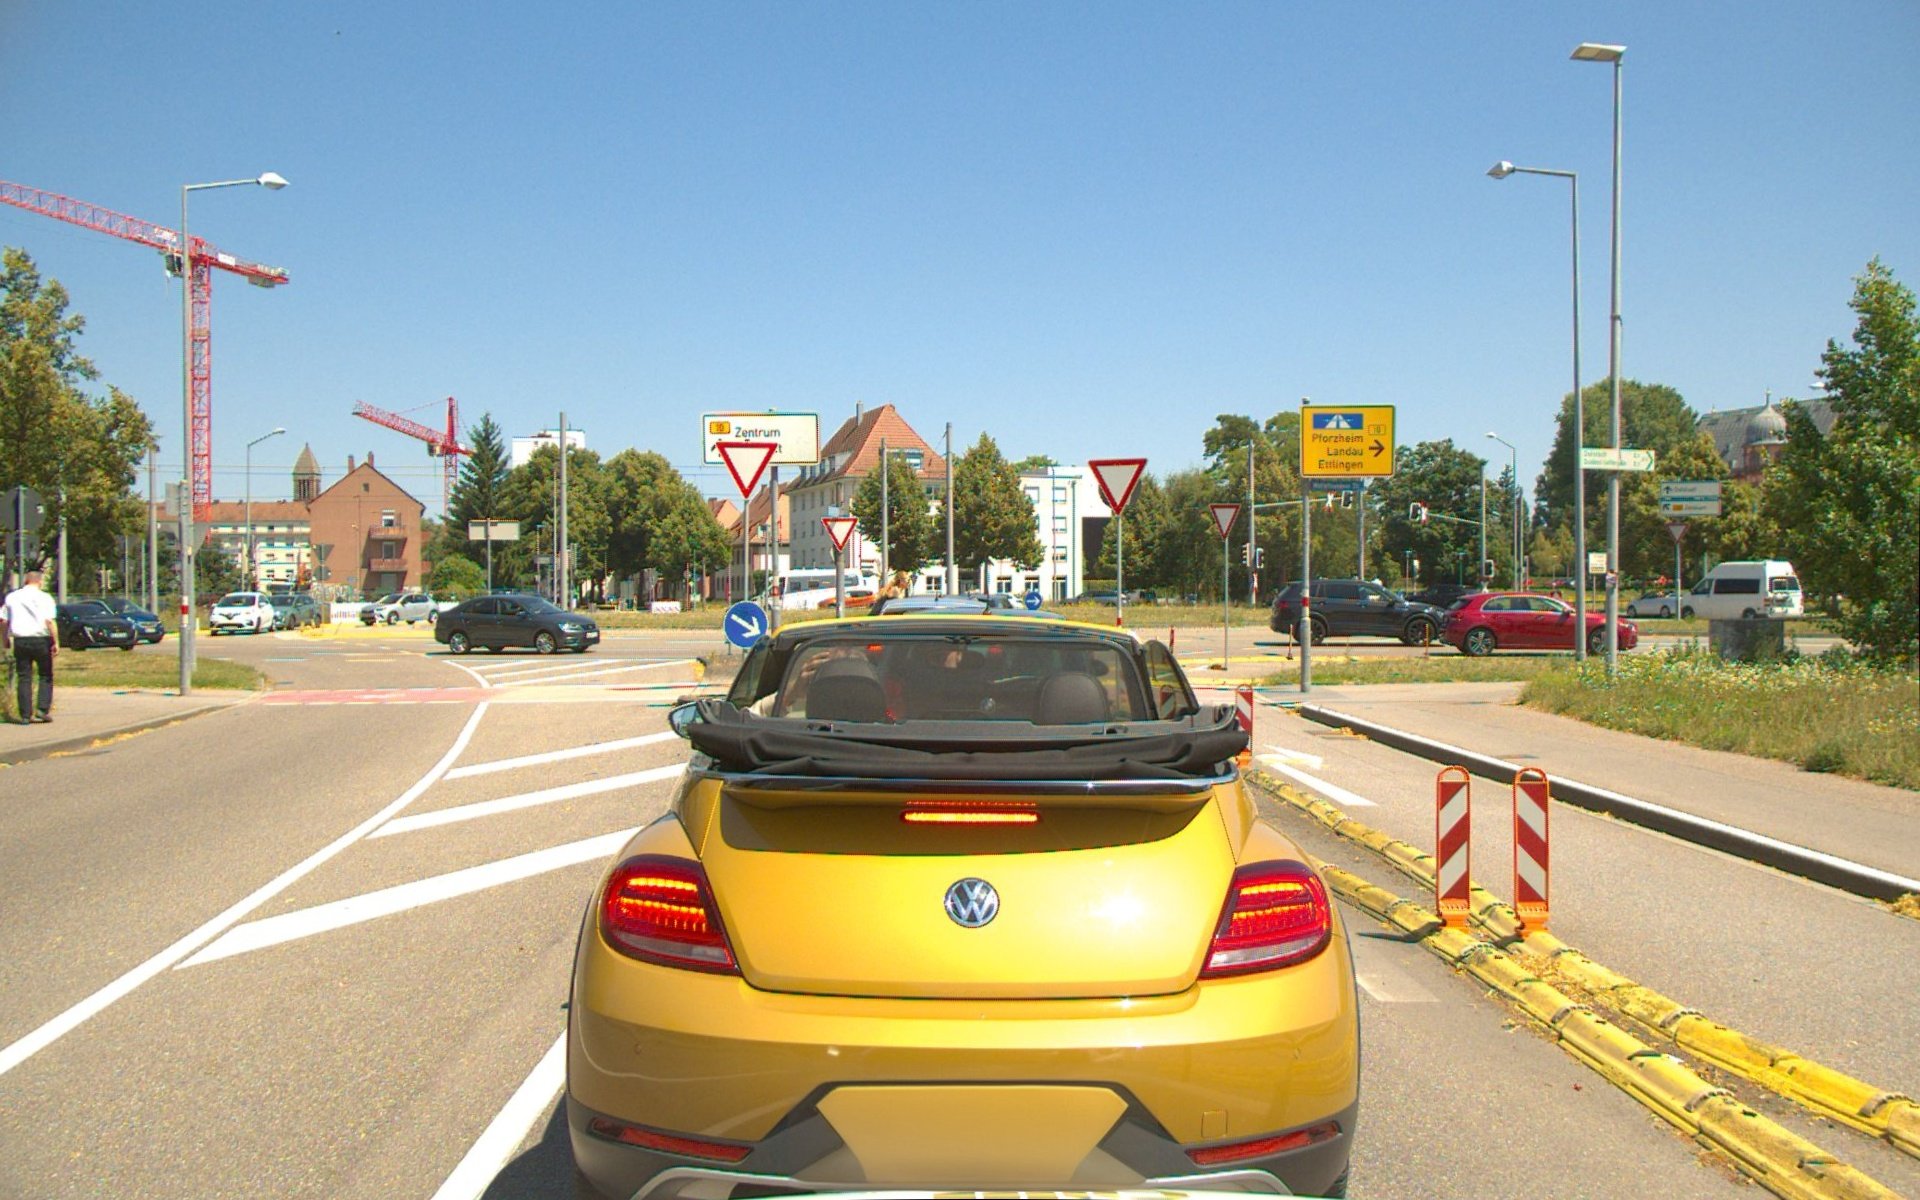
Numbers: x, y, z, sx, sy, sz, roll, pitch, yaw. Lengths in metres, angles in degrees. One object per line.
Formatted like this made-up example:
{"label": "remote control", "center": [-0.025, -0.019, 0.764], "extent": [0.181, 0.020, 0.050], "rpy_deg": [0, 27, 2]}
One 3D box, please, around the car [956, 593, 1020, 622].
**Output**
{"label": "car", "center": [1.769, 0.479, 104.745], "extent": [3.903, 1.803, 1.787], "rpy_deg": [1, 0, 5]}

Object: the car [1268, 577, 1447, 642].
{"label": "car", "center": [10.251, 0.237, 42.923], "extent": [4.311, 1.623, 2.002], "rpy_deg": [-1, 0, 7]}

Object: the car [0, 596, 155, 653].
{"label": "car", "center": [-26.400, 0.719, 49.531], "extent": [3.902, 1.579, 1.729], "rpy_deg": [1, 0, 13]}

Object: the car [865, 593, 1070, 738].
{"label": "car", "center": [0.045, 0.663, 18.582], "extent": [2.023, 1.406, 4.257], "rpy_deg": [1, 0, -1]}

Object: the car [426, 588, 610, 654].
{"label": "car", "center": [-11.202, 0.518, 41.963], "extent": [4.238, 1.579, 1.729], "rpy_deg": [0, 1, 17]}

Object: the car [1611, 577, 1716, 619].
{"label": "car", "center": [35.082, -0.092, 82.638], "extent": [1.956, 1.996, 5.304], "rpy_deg": [1, 0, -16]}

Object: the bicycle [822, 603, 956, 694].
{"label": "bicycle", "center": [-1.016, 0.693, 23.800], "extent": [1.803, 1.253, 0.614], "rpy_deg": [-2, -1, 10]}

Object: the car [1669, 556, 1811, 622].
{"label": "car", "center": [30.339, -0.418, 64.538], "extent": [1.956, 2.439, 5.302], "rpy_deg": [1, 0, -17]}

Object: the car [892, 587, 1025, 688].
{"label": "car", "center": [-0.054, 0.555, 27.537], "extent": [2.023, 1.506, 4.542], "rpy_deg": [-1, 0, -1]}

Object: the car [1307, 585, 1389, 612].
{"label": "car", "center": [21.210, -0.081, 90.441], "extent": [1.733, 1.395, 4.274], "rpy_deg": [1, 0, -37]}

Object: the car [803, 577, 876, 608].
{"label": "car", "center": [-7.267, -0.467, 100.122], "extent": [4.341, 1.766, 1.847], "rpy_deg": [1, 0, -3]}

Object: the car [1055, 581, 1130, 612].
{"label": "car", "center": [8.005, -0.207, 99.485], "extent": [4.335, 1.766, 1.850], "rpy_deg": [1, 0, 10]}

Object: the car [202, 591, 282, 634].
{"label": "car", "center": [-27.097, 0.431, 62.553], "extent": [1.742, 1.554, 3.866], "rpy_deg": [-1, 0, -7]}

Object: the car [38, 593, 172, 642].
{"label": "car", "center": [-28.881, 0.576, 55.892], "extent": [3.902, 1.579, 1.729], "rpy_deg": [1, 0, 16]}

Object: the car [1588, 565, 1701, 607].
{"label": "car", "center": [34.153, -0.690, 82.645], "extent": [1.963, 1.996, 5.284], "rpy_deg": [1, 0, -26]}

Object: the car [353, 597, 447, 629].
{"label": "car", "center": [-26.350, 0.613, 77.956], "extent": [1.693, 1.427, 4.267], "rpy_deg": [1, 0, 26]}

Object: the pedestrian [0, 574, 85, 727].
{"label": "pedestrian", "center": [-11.231, 0.600, 20.134], "extent": [0.623, 1.817, 0.968], "rpy_deg": [1, -1, -3]}

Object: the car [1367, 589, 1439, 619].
{"label": "car", "center": [25.242, 0.208, 94.289], "extent": [1.848, 1.642, 4.306], "rpy_deg": [1, 0, -20]}

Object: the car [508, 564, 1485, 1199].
{"label": "car", "center": [0.038, 0.712, 5.079], "extent": [1.729, 1.507, 4.257], "rpy_deg": [1, 0, -1]}

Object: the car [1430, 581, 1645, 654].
{"label": "car", "center": [13.158, 0.382, 37.916], "extent": [4.311, 1.554, 2.001], "rpy_deg": [1, 0, 7]}

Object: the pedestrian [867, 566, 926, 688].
{"label": "pedestrian", "center": [-0.909, 0.379, 23.797], "extent": [0.717, 1.721, 0.575], "rpy_deg": [1, -1, 9]}

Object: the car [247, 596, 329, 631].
{"label": "car", "center": [-27.803, 0.548, 68.532], "extent": [1.711, 1.395, 4.329], "rpy_deg": [1, 0, -2]}

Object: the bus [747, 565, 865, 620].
{"label": "bus", "center": [-9.629, -0.456, 103.460], "extent": [7.126, 3.228, 2.254], "rpy_deg": [1, 0, -13]}

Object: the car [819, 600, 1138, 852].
{"label": "car", "center": [0.078, 0.722, 11.624], "extent": [1.814, 1.389, 4.257], "rpy_deg": [-1, 0, -1]}
